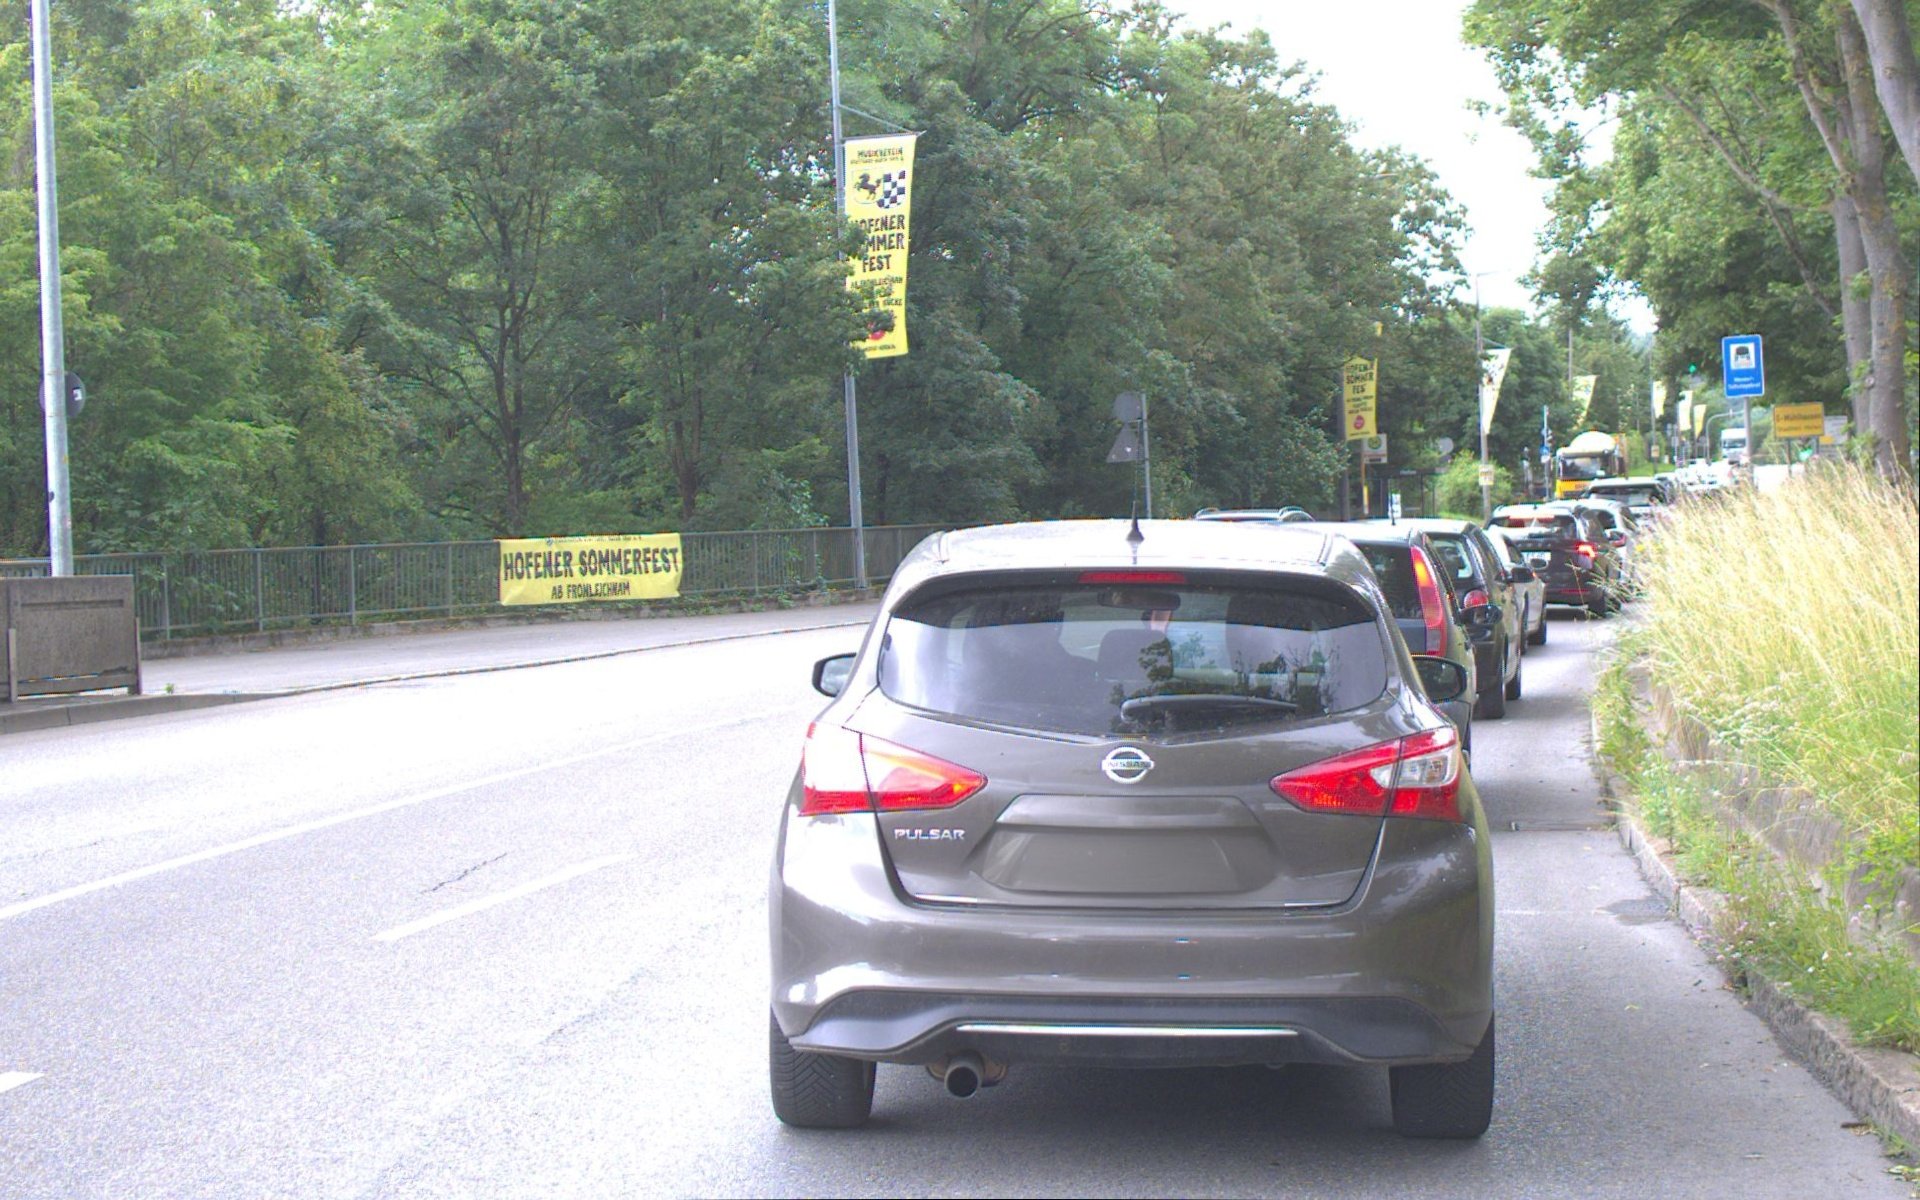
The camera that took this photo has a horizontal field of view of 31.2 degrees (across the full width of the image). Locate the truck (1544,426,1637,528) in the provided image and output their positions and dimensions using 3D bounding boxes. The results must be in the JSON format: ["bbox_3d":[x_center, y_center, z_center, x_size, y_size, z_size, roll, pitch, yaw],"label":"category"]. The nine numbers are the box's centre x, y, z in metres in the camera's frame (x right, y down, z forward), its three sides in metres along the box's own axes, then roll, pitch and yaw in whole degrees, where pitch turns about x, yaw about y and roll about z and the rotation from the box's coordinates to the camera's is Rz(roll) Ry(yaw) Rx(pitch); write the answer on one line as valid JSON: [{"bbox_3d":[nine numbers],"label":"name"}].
[{"bbox_3d":[25.235,-4.870,137.289,2.657,3.925,10.104,0,1,16],"label":"truck"}]

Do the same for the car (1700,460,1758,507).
[{"bbox_3d":[27.965,-4.233,125.011,1.892,1.647,3.998,-1,1,15],"label":"car"}]

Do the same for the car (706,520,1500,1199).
[{"bbox_3d":[0.589,0.555,9.671,1.775,1.489,3.999,0,0,8],"label":"car"}]

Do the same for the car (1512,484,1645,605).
[{"bbox_3d":[9.273,-0.855,51.325,1.719,1.687,3.998,-2,1,13],"label":"car"}]

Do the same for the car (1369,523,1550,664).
[{"bbox_3d":[5.278,-0.099,36.039,1.501,1.359,3.585,-2,1,14],"label":"car"}]

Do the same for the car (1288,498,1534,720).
[{"bbox_3d":[3.522,0.037,26.366,1.578,1.533,3.998,-2,1,11],"label":"car"}]

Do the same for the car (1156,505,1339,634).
[{"bbox_3d":[3.621,-0.371,42.622,1.852,1.481,4.419,-1,0,10],"label":"car"}]

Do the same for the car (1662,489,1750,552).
[{"bbox_3d":[18.038,-1.928,82.993,1.892,1.440,3.804,-1,1,15],"label":"car"}]

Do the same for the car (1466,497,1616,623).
[{"bbox_3d":[7.508,-0.516,44.236,1.805,1.535,3.998,1,1,11],"label":"car"}]

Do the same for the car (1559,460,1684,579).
[{"bbox_3d":[11.757,-1.432,60.935,1.892,2.007,3.998,-1,1,15],"label":"car"}]

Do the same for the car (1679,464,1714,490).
[{"bbox_3d":[44.185,-7.354,206.091,1.819,1.457,3.998,-1,1,15],"label":"car"}]

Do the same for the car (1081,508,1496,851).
[{"bbox_3d":[1.763,0.356,17.851,1.893,1.568,3.999,0,0,7],"label":"car"}]
